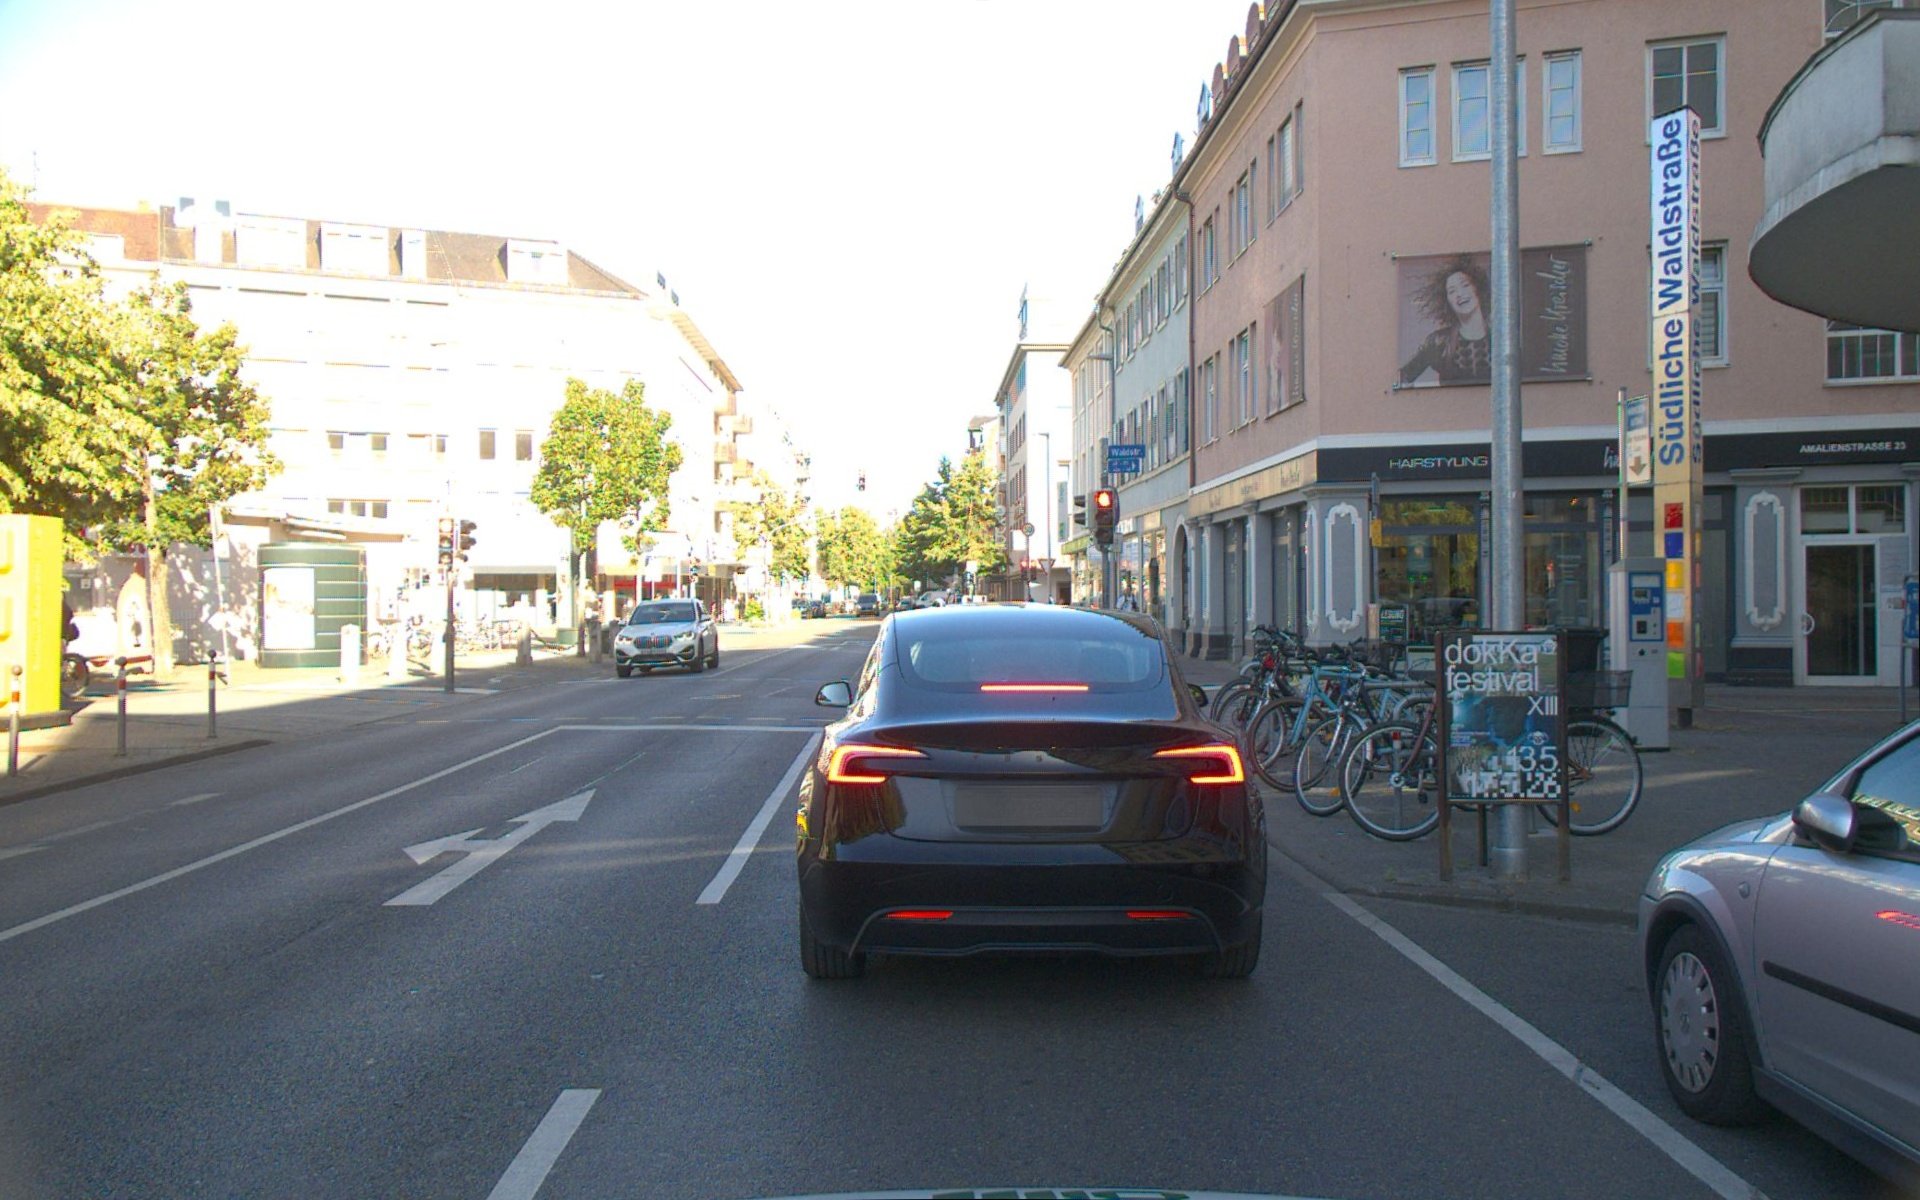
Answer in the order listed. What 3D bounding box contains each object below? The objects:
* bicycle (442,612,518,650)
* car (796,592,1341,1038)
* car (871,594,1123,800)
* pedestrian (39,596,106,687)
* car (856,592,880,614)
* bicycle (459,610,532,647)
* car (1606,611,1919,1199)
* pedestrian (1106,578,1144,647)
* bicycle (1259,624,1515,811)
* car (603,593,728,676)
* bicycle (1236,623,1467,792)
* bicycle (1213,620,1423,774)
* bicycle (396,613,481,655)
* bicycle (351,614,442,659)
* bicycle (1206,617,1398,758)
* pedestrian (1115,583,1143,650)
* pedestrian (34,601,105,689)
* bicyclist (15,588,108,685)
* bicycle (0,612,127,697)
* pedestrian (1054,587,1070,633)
[{"bbox_3d":[-14.432,0.933,49.740,2.040,1.123,0.806,0,0,-1],"label":"bicycle"},{"bbox_3d":[0.362,0.712,7.400,1.812,1.480,3.786,0,0,0],"label":"car"},{"bbox_3d":[0.266,0.698,13.814,1.812,1.480,3.786,0,0,0],"label":"car"},{"bbox_3d":[-17.261,0.795,32.174,0.882,1.755,0.744,0,0,3],"label":"pedestrian"},{"bbox_3d":[-7.272,0.219,131.276,1.793,1.754,3.998,0,0,-2],"label":"car"},{"bbox_3d":[-14.575,0.892,51.932,2.040,1.123,0.806,0,0,-1],"label":"bicycle"},{"bbox_3d":[2.916,0.753,3.496,1.588,1.419,3.886,0,0,0],"label":"car"},{"bbox_3d":[4.509,0.332,45.292,0.979,1.883,0.615,0,0,-1],"label":"pedestrian"},{"bbox_3d":[2.886,0.785,11.227,1.595,1.180,0.432,-2,0,-2],"label":"bicycle"},{"bbox_3d":[-6.314,0.699,35.907,1.953,1.567,3.999,-4,0,-1],"label":"car"},{"bbox_3d":[2.921,0.792,12.400,1.595,1.180,0.432,-2,0,-2],"label":"bicycle"},{"bbox_3d":[2.931,0.783,13.588,1.595,1.180,0.432,-2,0,-2],"label":"bicycle"},{"bbox_3d":[-14.163,0.915,44.970,2.040,1.123,0.806,0,0,-1],"label":"bicycle"},{"bbox_3d":[-14.457,0.927,42.446,2.040,1.123,0.806,0,0,-1],"label":"bicycle"},{"bbox_3d":[3.049,0.770,14.792,1.594,1.180,0.433,-2,0,0],"label":"bicycle"},{"bbox_3d":[4.624,0.447,45.319,0.689,1.814,0.533,0,0,-1],"label":"pedestrian"},{"bbox_3d":[-17.254,0.863,32.058,0.966,1.665,0.737,0,0,3],"label":"pedestrian"},{"bbox_3d":[-13.797,0.547,25.412,0.984,1.460,0.799,0,0,19],"label":"bicyclist"},{"bbox_3d":[-13.801,0.821,25.416,1.731,1.254,0.799,0,0,19],"label":"bicycle"},{"bbox_3d":[3.873,0.384,62.623,0.559,1.720,0.387,0,0,-1],"label":"pedestrian"}]
